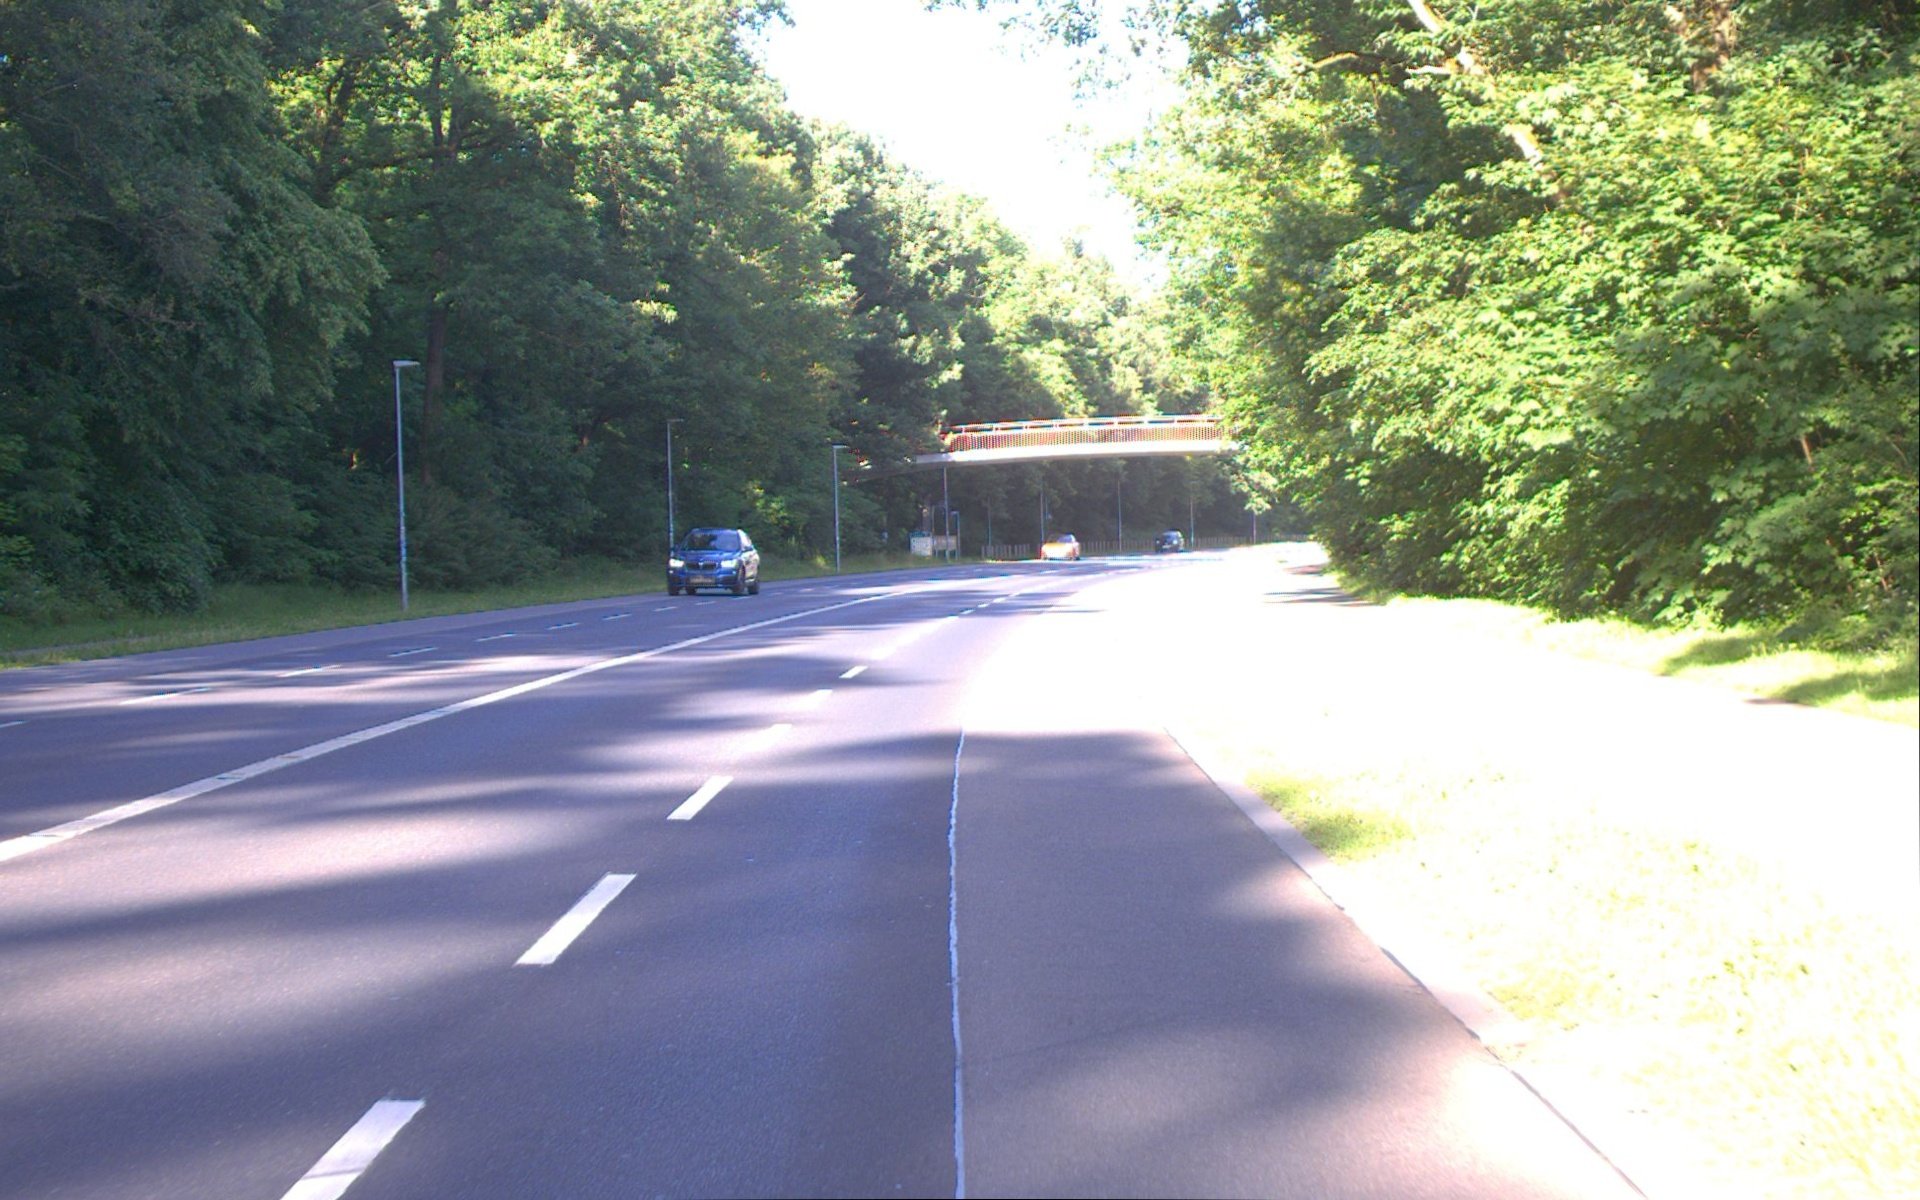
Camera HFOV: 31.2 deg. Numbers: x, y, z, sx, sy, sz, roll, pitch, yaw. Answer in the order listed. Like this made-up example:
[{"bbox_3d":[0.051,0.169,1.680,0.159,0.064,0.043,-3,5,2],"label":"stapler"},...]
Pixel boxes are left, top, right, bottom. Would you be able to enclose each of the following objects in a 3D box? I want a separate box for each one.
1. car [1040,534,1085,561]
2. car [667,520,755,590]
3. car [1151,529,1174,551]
[{"bbox_3d":[5.517,-2.825,184.777,1.711,1.418,4.128,0,1,12],"label":"car"},{"bbox_3d":[-6.078,-1.110,84.417,1.807,1.657,4.522,0,1,0],"label":"car"},{"bbox_3d":[13.728,-4.064,232.660,1.495,1.439,3.500,0,1,4],"label":"car"}]
